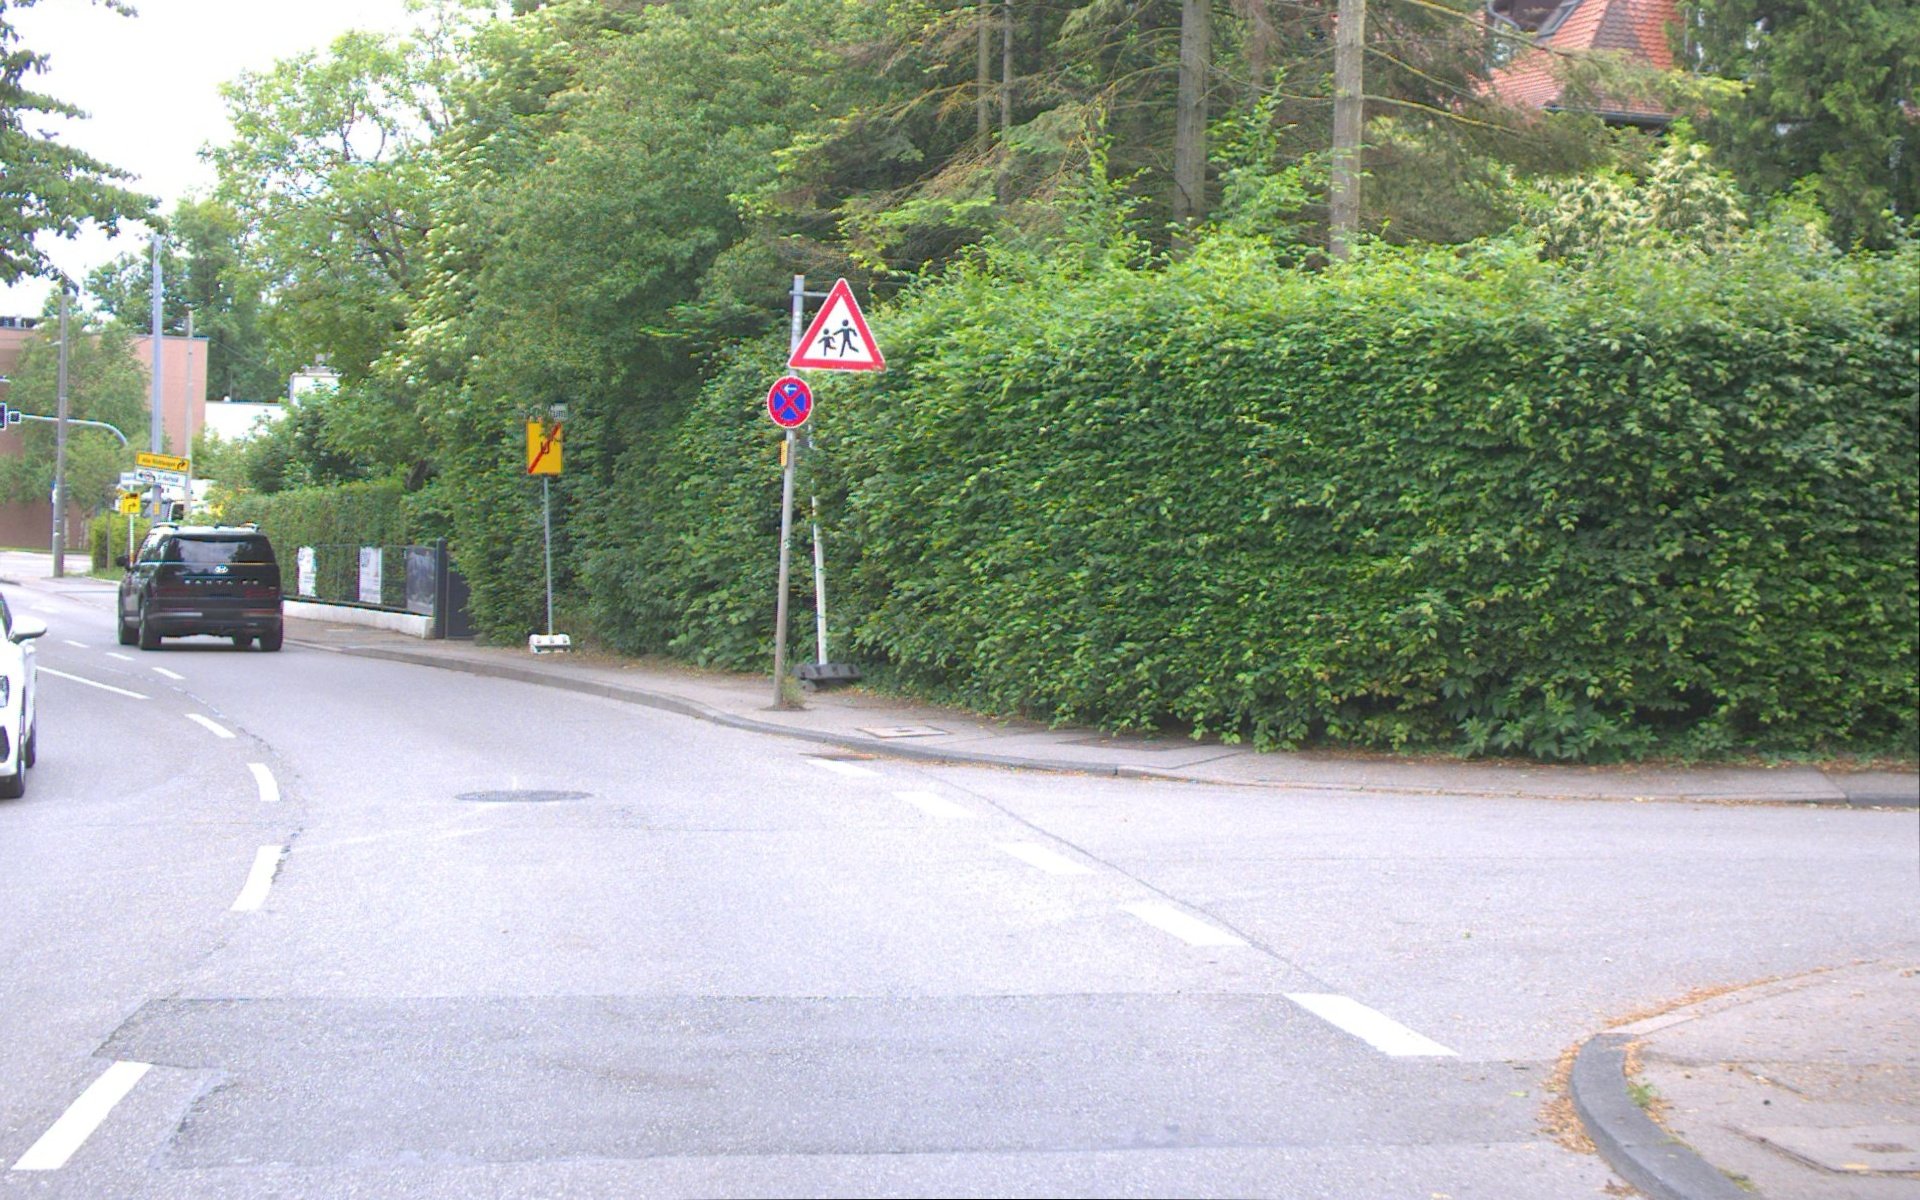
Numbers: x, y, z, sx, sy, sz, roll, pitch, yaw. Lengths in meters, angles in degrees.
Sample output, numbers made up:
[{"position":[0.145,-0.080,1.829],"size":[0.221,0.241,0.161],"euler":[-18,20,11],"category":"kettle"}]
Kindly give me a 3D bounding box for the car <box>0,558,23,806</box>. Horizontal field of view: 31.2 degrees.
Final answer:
[{"position":[-6.893,0.460,21.817],"size":[1.807,1.438,4.200],"euler":[0,1,-15],"category":"car"}]

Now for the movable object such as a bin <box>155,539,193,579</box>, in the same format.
[{"position":[-22.019,-1.152,96.297],"size":[0.681,1.070,0.715],"euler":[3,-1,33],"category":"movable object such as a bin"}]

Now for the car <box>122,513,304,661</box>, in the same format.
[{"position":[-10.461,-0.219,47.936],"size":[1.993,1.875,4.002],"euler":[1,2,-19],"category":"car"}]

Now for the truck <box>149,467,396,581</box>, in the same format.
[{"position":[-30.416,-3.312,152.823],"size":[3.131,4.718,11.771],"euler":[3,1,34],"category":"truck"}]
